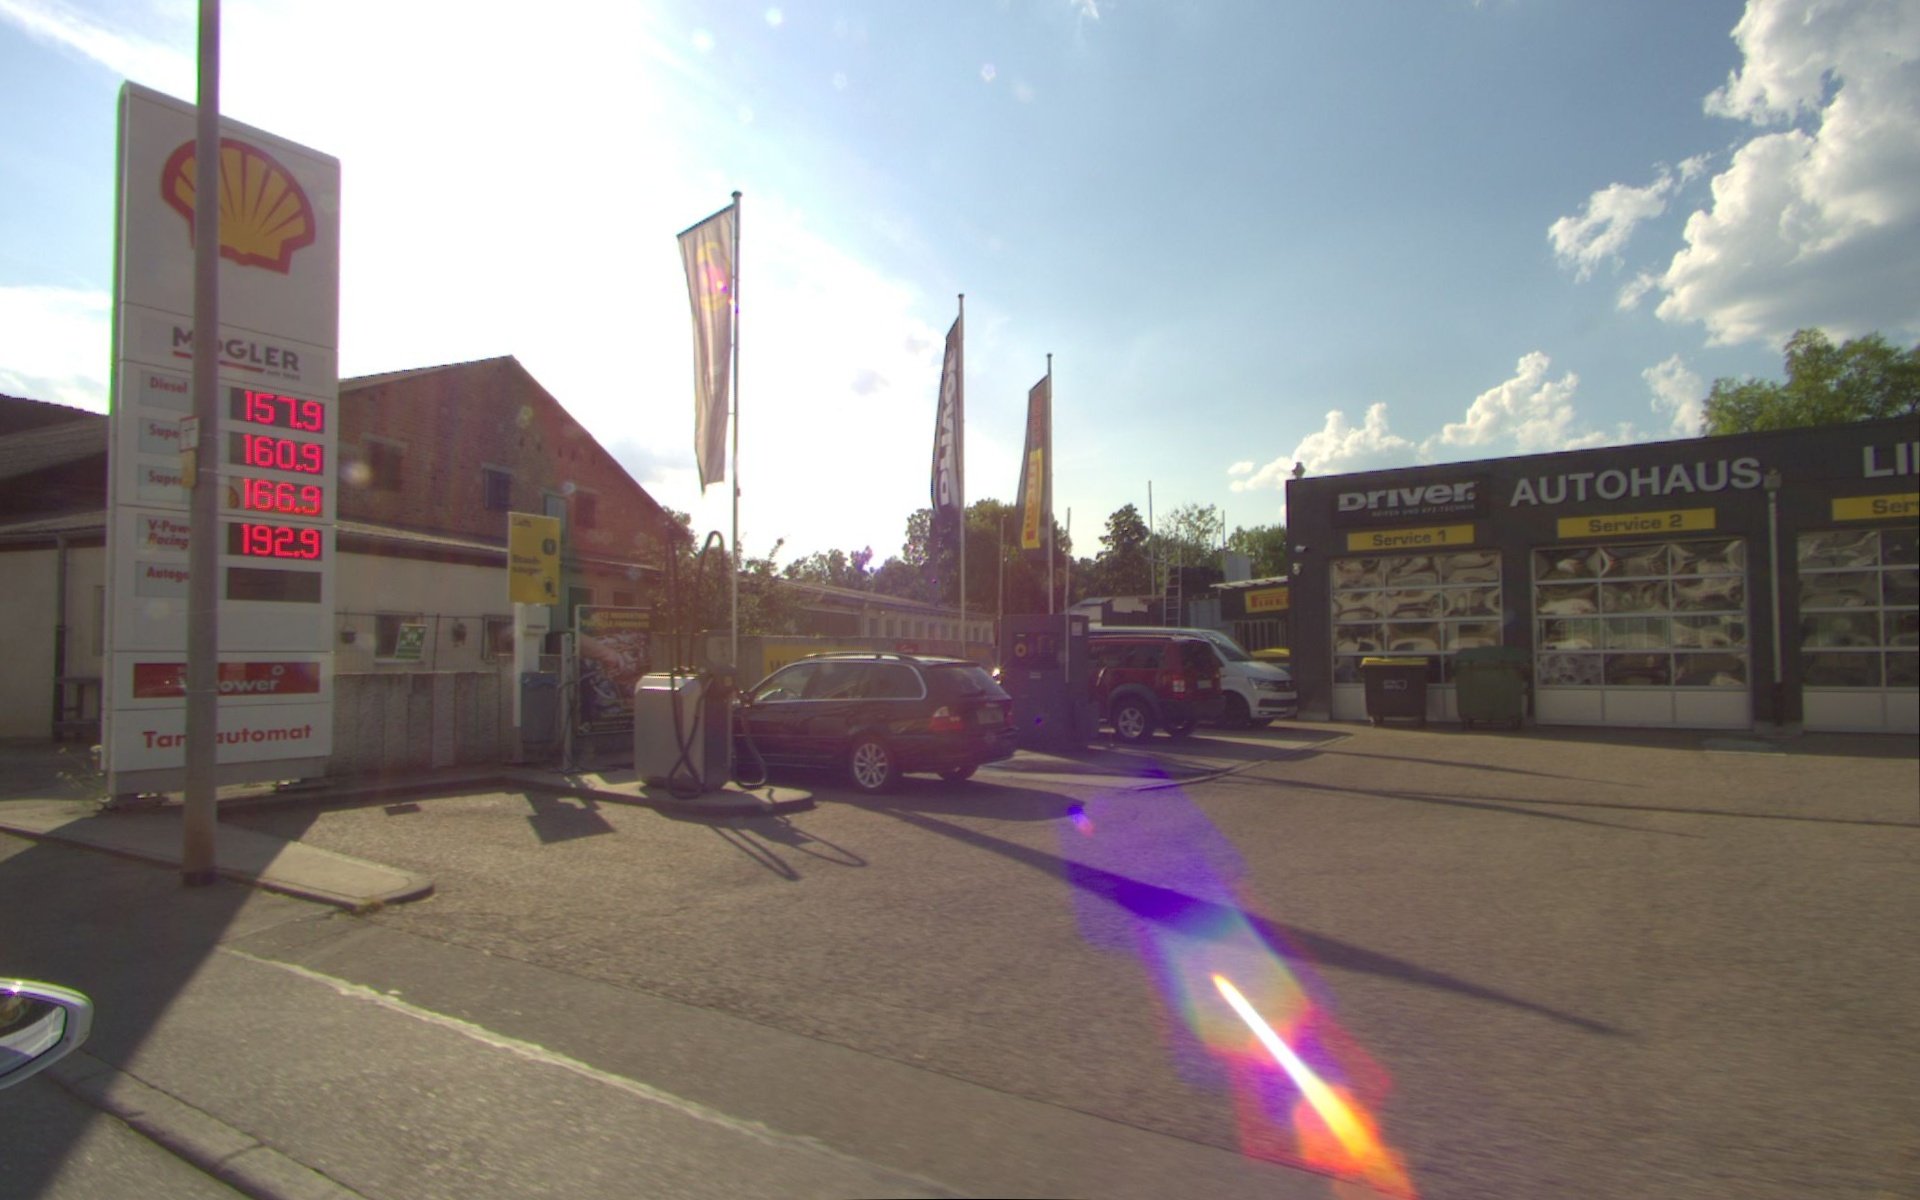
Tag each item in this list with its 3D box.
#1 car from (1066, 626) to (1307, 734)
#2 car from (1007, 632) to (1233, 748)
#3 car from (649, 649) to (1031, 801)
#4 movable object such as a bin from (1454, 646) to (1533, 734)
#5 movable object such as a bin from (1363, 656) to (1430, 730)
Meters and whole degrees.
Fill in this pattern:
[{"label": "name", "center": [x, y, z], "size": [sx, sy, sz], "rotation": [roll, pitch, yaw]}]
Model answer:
[{"label": "car", "center": [4.444, 1.511, 20.032], "size": [4.494, 1.948, 1.573], "rotation": [-1, -2, 37]}, {"label": "car", "center": [2.739, 1.475, 17.409], "size": [3.585, 1.815, 1.573], "rotation": [-1, -2, 37]}, {"label": "car", "center": [-1.462, 1.302, 11.443], "size": [4.319, 1.445, 1.576], "rotation": [-2, -4, 33]}, {"label": "movable object such as a bin", "center": [9.906, 1.639, 18.587], "size": [1.192, 1.549, 0.986], "rotation": [-1, -2, 33]}, {"label": "movable object such as a bin", "center": [8.533, 1.790, 19.574], "size": [1.110, 1.393, 0.987], "rotation": [-1, -2, 28]}]
